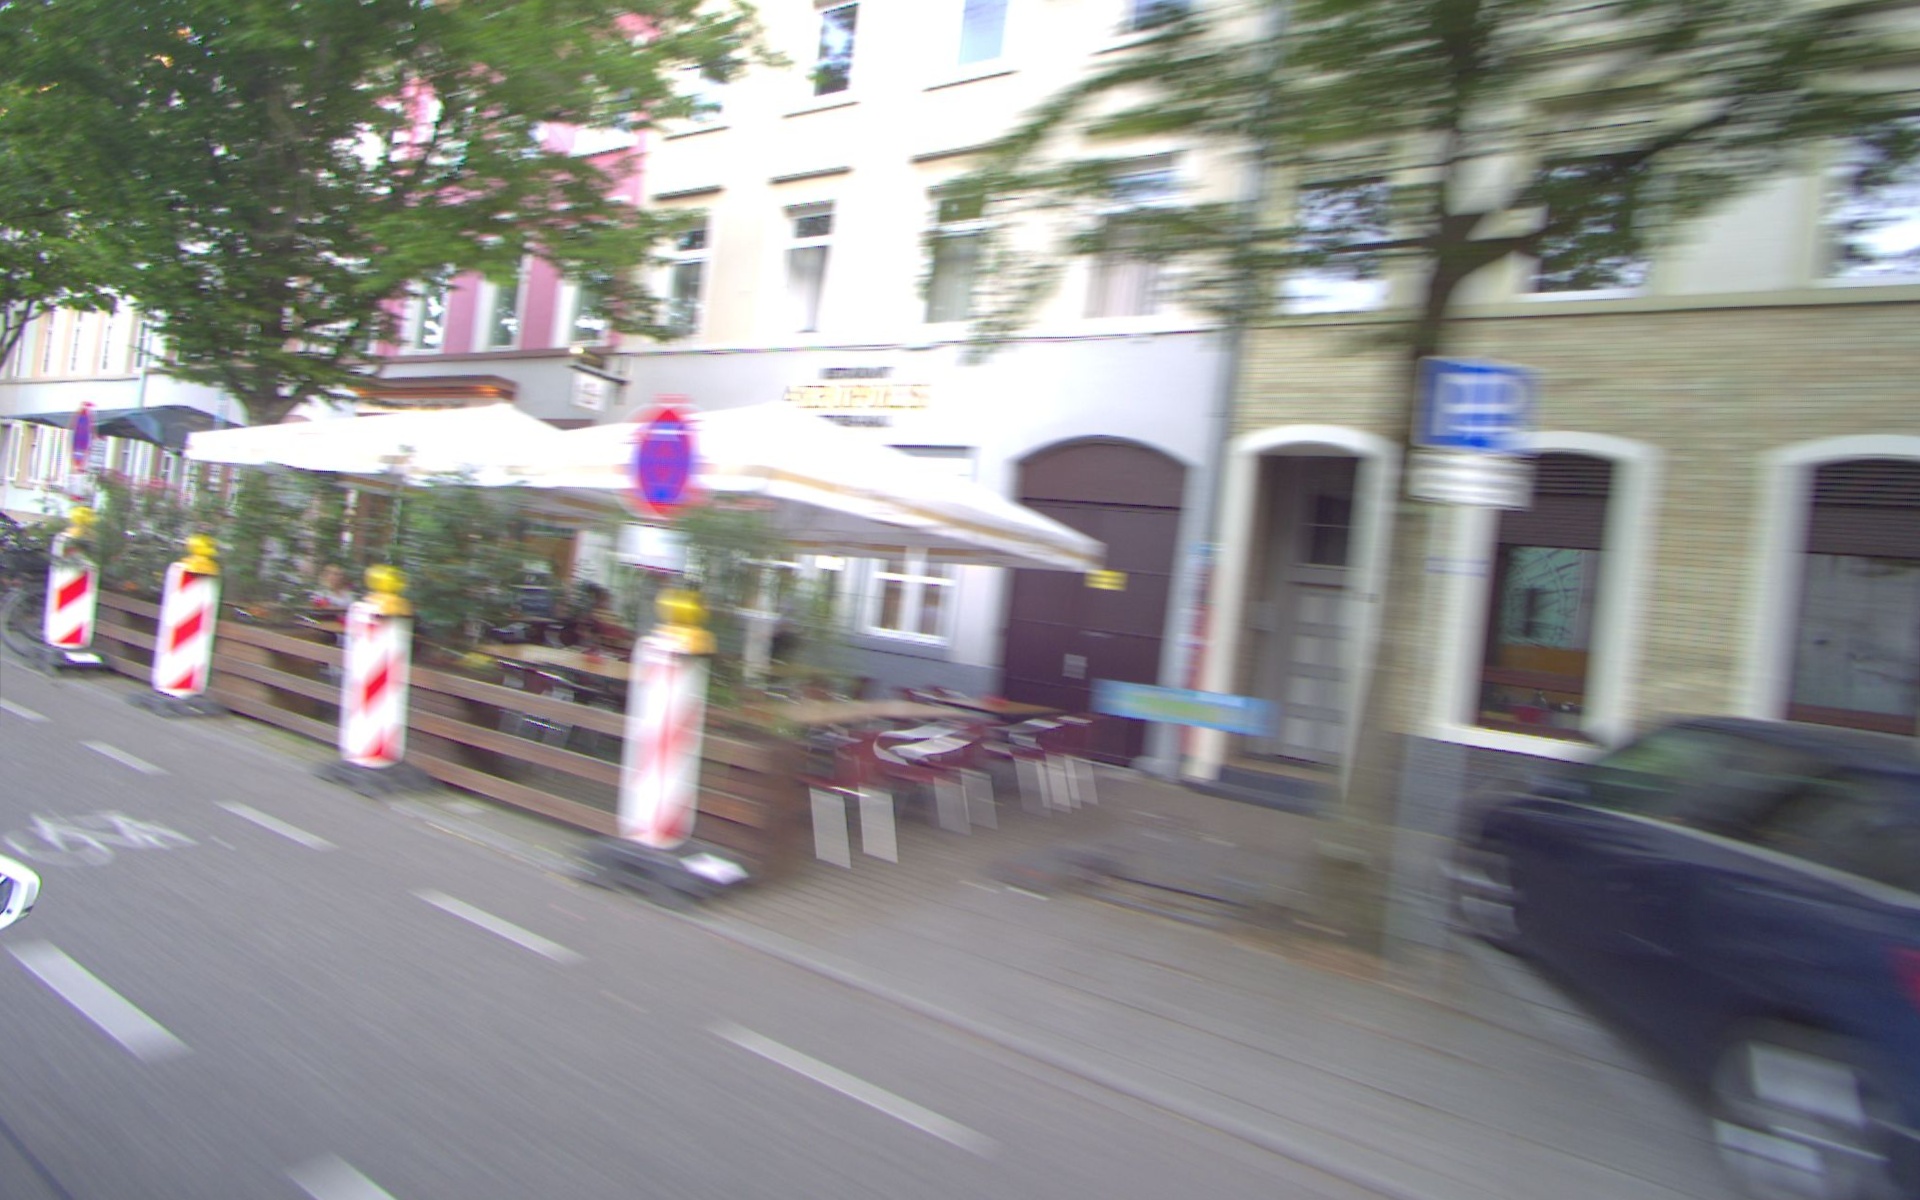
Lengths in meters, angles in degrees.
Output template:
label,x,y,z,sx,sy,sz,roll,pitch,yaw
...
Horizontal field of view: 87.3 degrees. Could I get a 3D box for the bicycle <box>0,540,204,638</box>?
label,x,y,z,sx,sy,sz,roll,pitch,yaw
bicycle,-10.305,-0.105,12.033,0.598,1.045,1.888,7,2,30

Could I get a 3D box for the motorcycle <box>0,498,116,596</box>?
label,x,y,z,sx,sy,sz,roll,pitch,yaw
motorcycle,-15.770,-0.924,16.865,0.951,1.480,2.225,7,1,30

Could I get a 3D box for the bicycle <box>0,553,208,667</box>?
label,x,y,z,sx,sy,sz,roll,pitch,yaw
bicycle,-8.822,0.112,10.288,0.547,1.045,1.680,7,2,30

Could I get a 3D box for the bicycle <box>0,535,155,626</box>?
label,x,y,z,sx,sy,sz,roll,pitch,yaw
bicycle,-11.436,-0.232,12.681,0.598,1.045,1.888,7,2,30

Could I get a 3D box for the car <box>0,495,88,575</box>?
label,x,y,z,sx,sy,sz,roll,pitch,yaw
car,-19.233,-1.343,18.762,1.788,1.445,4.174,7,1,13

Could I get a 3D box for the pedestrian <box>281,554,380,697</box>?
label,x,y,z,sx,sy,sz,roll,pitch,yaw
pedestrian,-6.153,0.249,9.837,0.591,1.307,0.502,7,-1,36

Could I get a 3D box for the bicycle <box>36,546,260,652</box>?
label,x,y,z,sx,sy,sz,roll,pitch,yaw
bicycle,-9.032,0.013,11.270,0.598,1.045,1.817,7,2,30

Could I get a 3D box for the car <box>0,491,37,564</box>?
label,x,y,z,sx,sy,sz,roll,pitch,yaw
car,-21.463,-1.647,20.105,1.963,1.489,3.960,7,1,15

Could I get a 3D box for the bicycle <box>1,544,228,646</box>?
label,x,y,z,sx,sy,sz,roll,pitch,yaw
bicycle,-9.738,-0.025,11.677,0.598,1.045,1.888,7,2,30

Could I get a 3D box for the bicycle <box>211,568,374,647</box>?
label,x,y,z,sx,sy,sz,roll,pitch,yaw
bicycle,-8.962,0.130,13.594,0.320,0.882,1.820,6,-2,30

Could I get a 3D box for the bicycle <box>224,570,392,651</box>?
label,x,y,z,sx,sy,sz,roll,pitch,yaw
bicycle,-8.591,0.169,13.345,0.381,0.882,1.819,6,-2,30

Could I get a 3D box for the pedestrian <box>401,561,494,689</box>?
label,x,y,z,sx,sy,sz,roll,pitch,yaw
pedestrian,-5.620,0.278,11.041,0.495,1.307,0.599,7,-1,33

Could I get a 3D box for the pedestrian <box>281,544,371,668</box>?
label,x,y,z,sx,sy,sz,roll,pitch,yaw
pedestrian,-7.155,0.070,11.361,0.589,1.308,0.503,7,0,27

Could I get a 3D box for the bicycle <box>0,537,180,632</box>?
label,x,y,z,sx,sy,sz,roll,pitch,yaw
bicycle,-10.859,-0.173,12.367,0.598,1.045,1.888,7,2,30

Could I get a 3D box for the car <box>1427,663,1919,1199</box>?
label,x,y,z,sx,sy,sz,roll,pitch,yaw
car,3.634,1.254,4.246,1.673,1.572,3.975,7,0,6

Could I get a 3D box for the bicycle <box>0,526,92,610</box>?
label,x,y,z,sx,sy,sz,roll,pitch,yaw
bicycle,-13.226,-0.463,13.774,0.663,1.081,1.888,7,2,29

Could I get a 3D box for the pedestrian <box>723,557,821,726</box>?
label,x,y,z,sx,sy,sz,roll,pitch,yaw
pedestrian,-2.126,0.473,11.459,0.701,1.783,0.705,7,-1,6

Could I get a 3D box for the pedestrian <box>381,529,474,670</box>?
label,x,y,z,sx,sy,sz,roll,pitch,yaw
pedestrian,-7.243,-0.009,13.687,0.879,1.783,0.552,7,-1,31

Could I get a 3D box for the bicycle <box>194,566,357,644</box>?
label,x,y,z,sx,sy,sz,roll,pitch,yaw
bicycle,-9.333,0.090,13.802,0.320,0.882,1.820,6,-2,30

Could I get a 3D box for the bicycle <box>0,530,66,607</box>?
label,x,y,z,sx,sy,sz,roll,pitch,yaw
bicycle,-13.837,-0.476,14.066,0.581,1.045,1.865,7,2,29

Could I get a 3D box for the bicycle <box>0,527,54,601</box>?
label,x,y,z,sx,sy,sz,roll,pitch,yaw
bicycle,-14.316,-0.561,14.398,0.524,1.045,1.905,7,2,29

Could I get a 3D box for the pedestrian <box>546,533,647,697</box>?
label,x,y,z,sx,sy,sz,roll,pitch,yaw
pedestrian,-4.213,0.184,11.683,0.701,1.783,0.553,7,-1,14

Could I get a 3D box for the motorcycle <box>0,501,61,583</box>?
label,x,y,z,sx,sy,sz,roll,pitch,yaw
motorcycle,-16.890,-1.052,17.448,0.524,1.361,1.788,7,1,30

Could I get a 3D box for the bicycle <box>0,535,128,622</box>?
label,x,y,z,sx,sy,sz,roll,pitch,yaw
bicycle,-12.099,-0.286,13.050,0.598,1.045,1.888,7,2,30

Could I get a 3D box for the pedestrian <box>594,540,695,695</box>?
label,x,y,z,sx,sy,sz,roll,pitch,yaw
pedestrian,-3.899,0.220,12.453,0.838,1.783,0.552,7,-1,27

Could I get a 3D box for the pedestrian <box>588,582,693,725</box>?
label,x,y,z,sx,sy,sz,roll,pitch,yaw
pedestrian,-3.229,0.537,10.214,0.702,1.321,0.553,7,-1,4

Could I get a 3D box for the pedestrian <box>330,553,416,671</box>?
label,x,y,z,sx,sy,sz,roll,pitch,yaw
pedestrian,-6.931,0.147,11.888,0.589,1.307,0.503,7,0,26

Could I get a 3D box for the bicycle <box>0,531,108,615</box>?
label,x,y,z,sx,sy,sz,roll,pitch,yaw
bicycle,-12.639,-0.369,13.371,0.598,1.045,1.888,7,2,30

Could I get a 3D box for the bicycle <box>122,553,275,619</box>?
label,x,y,z,sx,sy,sz,roll,pitch,yaw
bicycle,-11.358,-0.185,15.075,0.320,0.884,1.817,7,2,30
